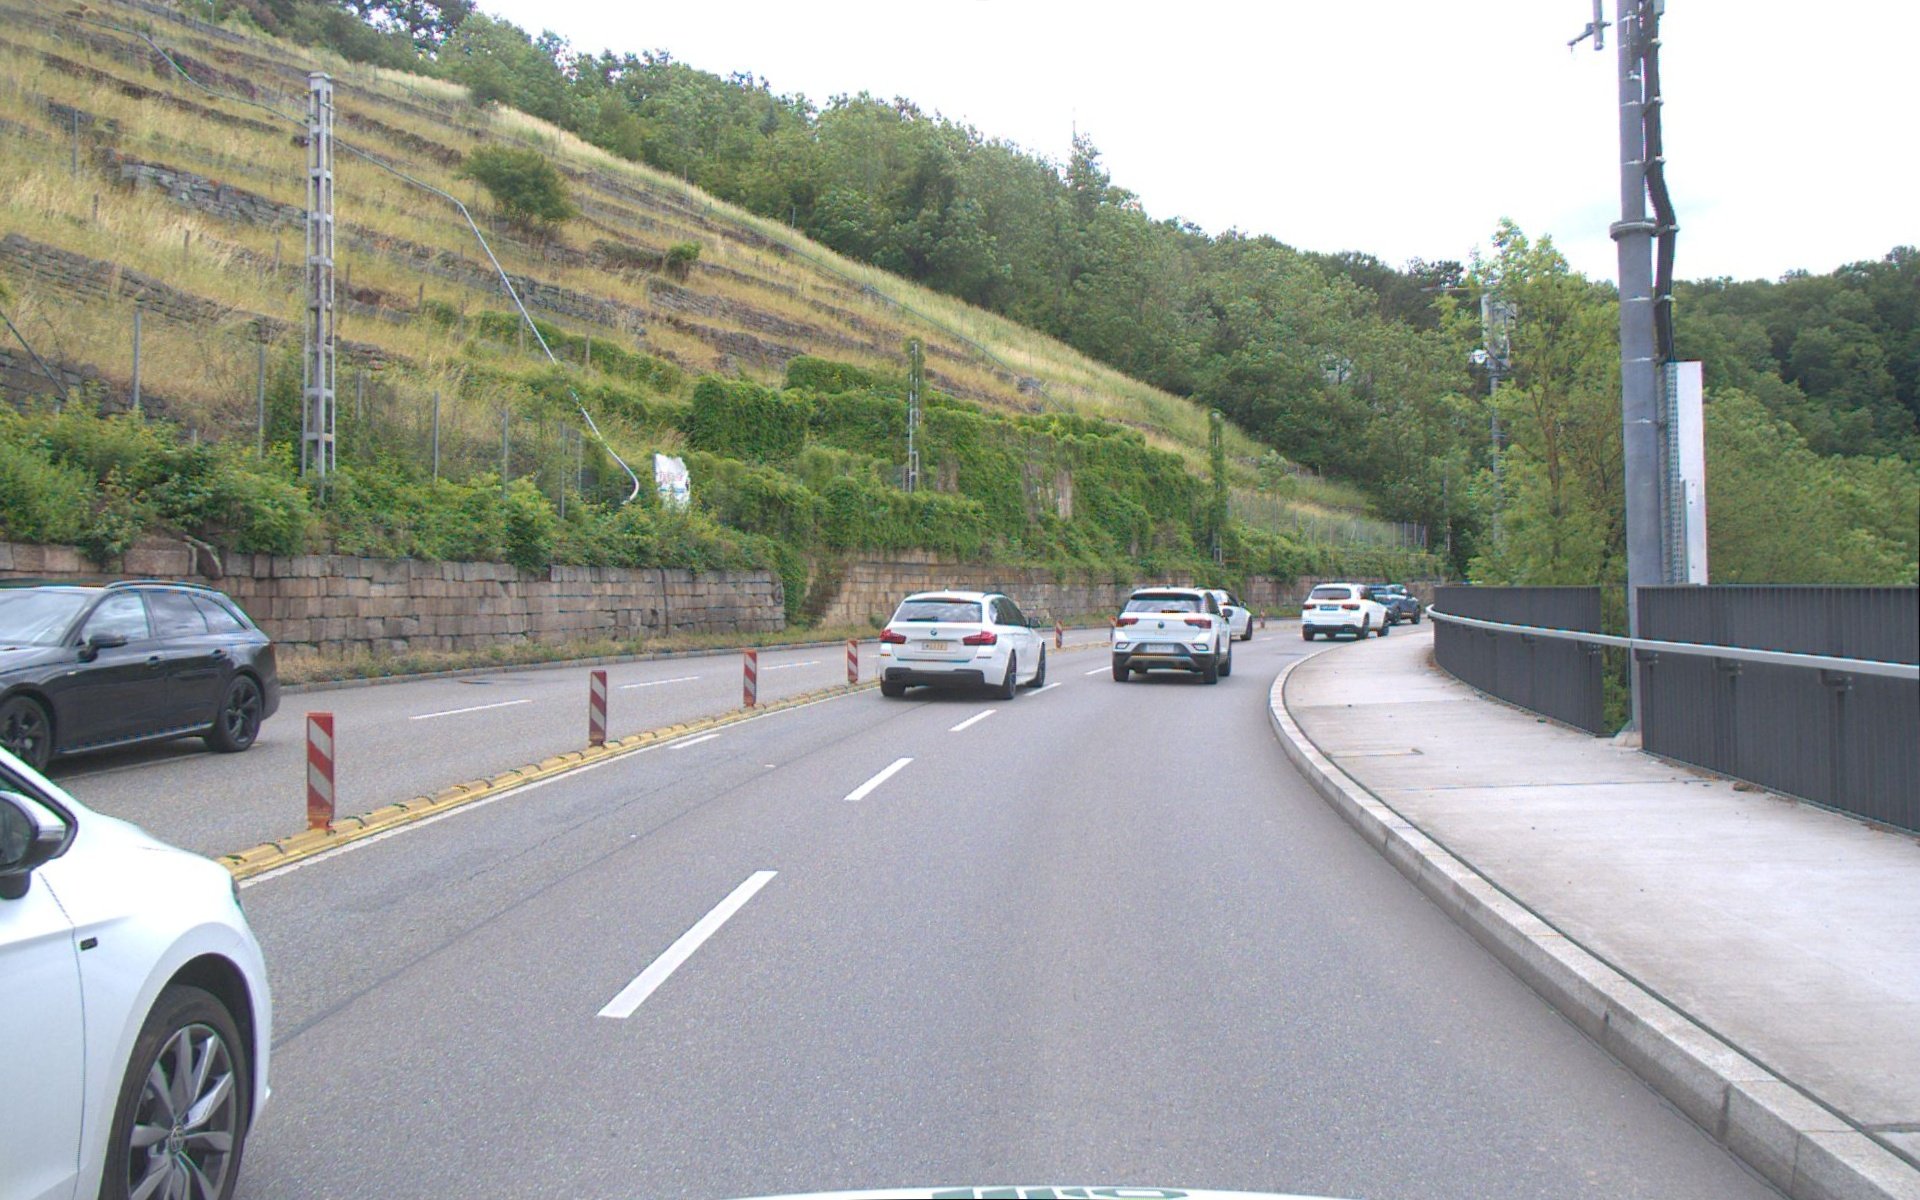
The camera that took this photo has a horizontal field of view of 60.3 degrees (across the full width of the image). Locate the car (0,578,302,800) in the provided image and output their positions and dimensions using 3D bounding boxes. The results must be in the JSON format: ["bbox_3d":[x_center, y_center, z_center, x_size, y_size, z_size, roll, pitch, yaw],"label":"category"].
[{"bbox_3d":[-7.048,0.572,12.667,1.811,1.438,4.419,2,0,7],"label":"car"}]

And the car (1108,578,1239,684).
[{"bbox_3d":[3.769,0.472,28.640,1.789,1.633,4.003,2,1,13],"label":"car"}]

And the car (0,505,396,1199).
[{"bbox_3d":[-2.416,0.647,2.150,1.783,1.608,4.357,1,0,1],"label":"car"}]

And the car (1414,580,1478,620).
[{"bbox_3d":[21.917,0.008,74.459,1.956,1.747,3.993,0,0,29],"label":"car"}]

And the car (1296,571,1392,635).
[{"bbox_3d":[11.445,0.090,49.079,1.954,1.748,4.111,-3,-1,24],"label":"car"}]

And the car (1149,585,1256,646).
[{"bbox_3d":[6.874,0.403,46.493,1.952,1.529,4.668,-2,0,21],"label":"car"}]

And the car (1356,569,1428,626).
[{"bbox_3d":[16.835,-0.101,64.319,1.954,2.049,3.998,-3,-1,25],"label":"car"}]

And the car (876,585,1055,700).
[{"bbox_3d":[0.184,0.565,24.124,1.789,1.485,4.489,1,0,11],"label":"car"}]
